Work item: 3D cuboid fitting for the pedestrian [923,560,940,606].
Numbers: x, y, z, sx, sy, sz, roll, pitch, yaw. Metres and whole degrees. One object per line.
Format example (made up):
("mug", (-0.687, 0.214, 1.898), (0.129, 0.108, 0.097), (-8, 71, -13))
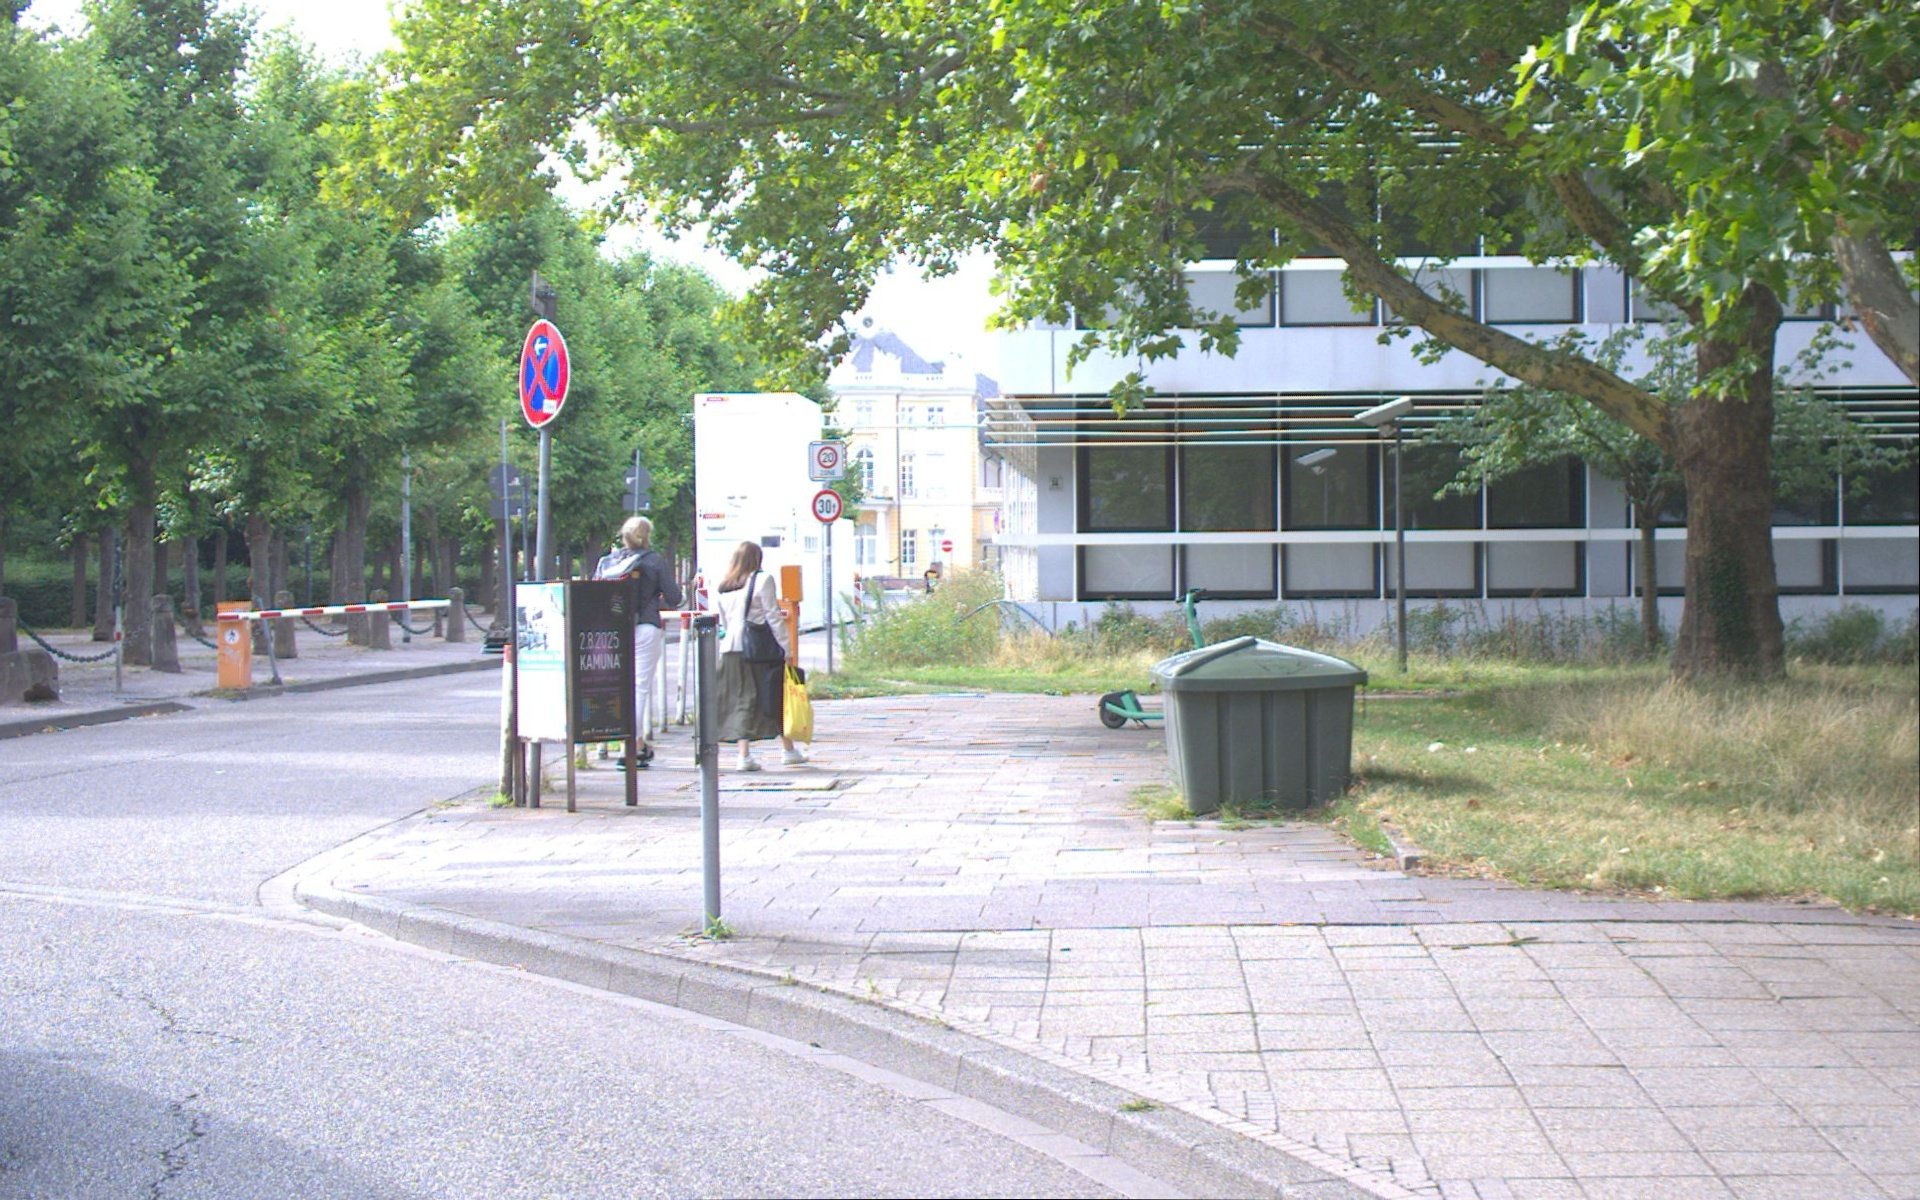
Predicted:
("pedestrian", (-1.008, -0.602, 120.982), (0.459, 1.619, 0.632), (1, 1, -11))

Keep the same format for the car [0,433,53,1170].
("car", (-3.970, 0.459, 9.272), (1.793, 1.702, 4.131), (-1, 1, -32))

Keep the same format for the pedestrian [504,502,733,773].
("pedestrian", (-2.274, 0.233, 22.983), (0.961, 1.735, 1.254), (2, 1, 28))

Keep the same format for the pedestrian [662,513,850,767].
("pedestrian", (-1.353, 0.250, 22.882), (0.897, 1.635, 0.851), (2, 1, 29))

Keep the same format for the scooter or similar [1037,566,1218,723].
("scooter or similar", (1.394, 0.369, 28.742), (1.450, 1.264, 0.570), (1, 1, -1))
